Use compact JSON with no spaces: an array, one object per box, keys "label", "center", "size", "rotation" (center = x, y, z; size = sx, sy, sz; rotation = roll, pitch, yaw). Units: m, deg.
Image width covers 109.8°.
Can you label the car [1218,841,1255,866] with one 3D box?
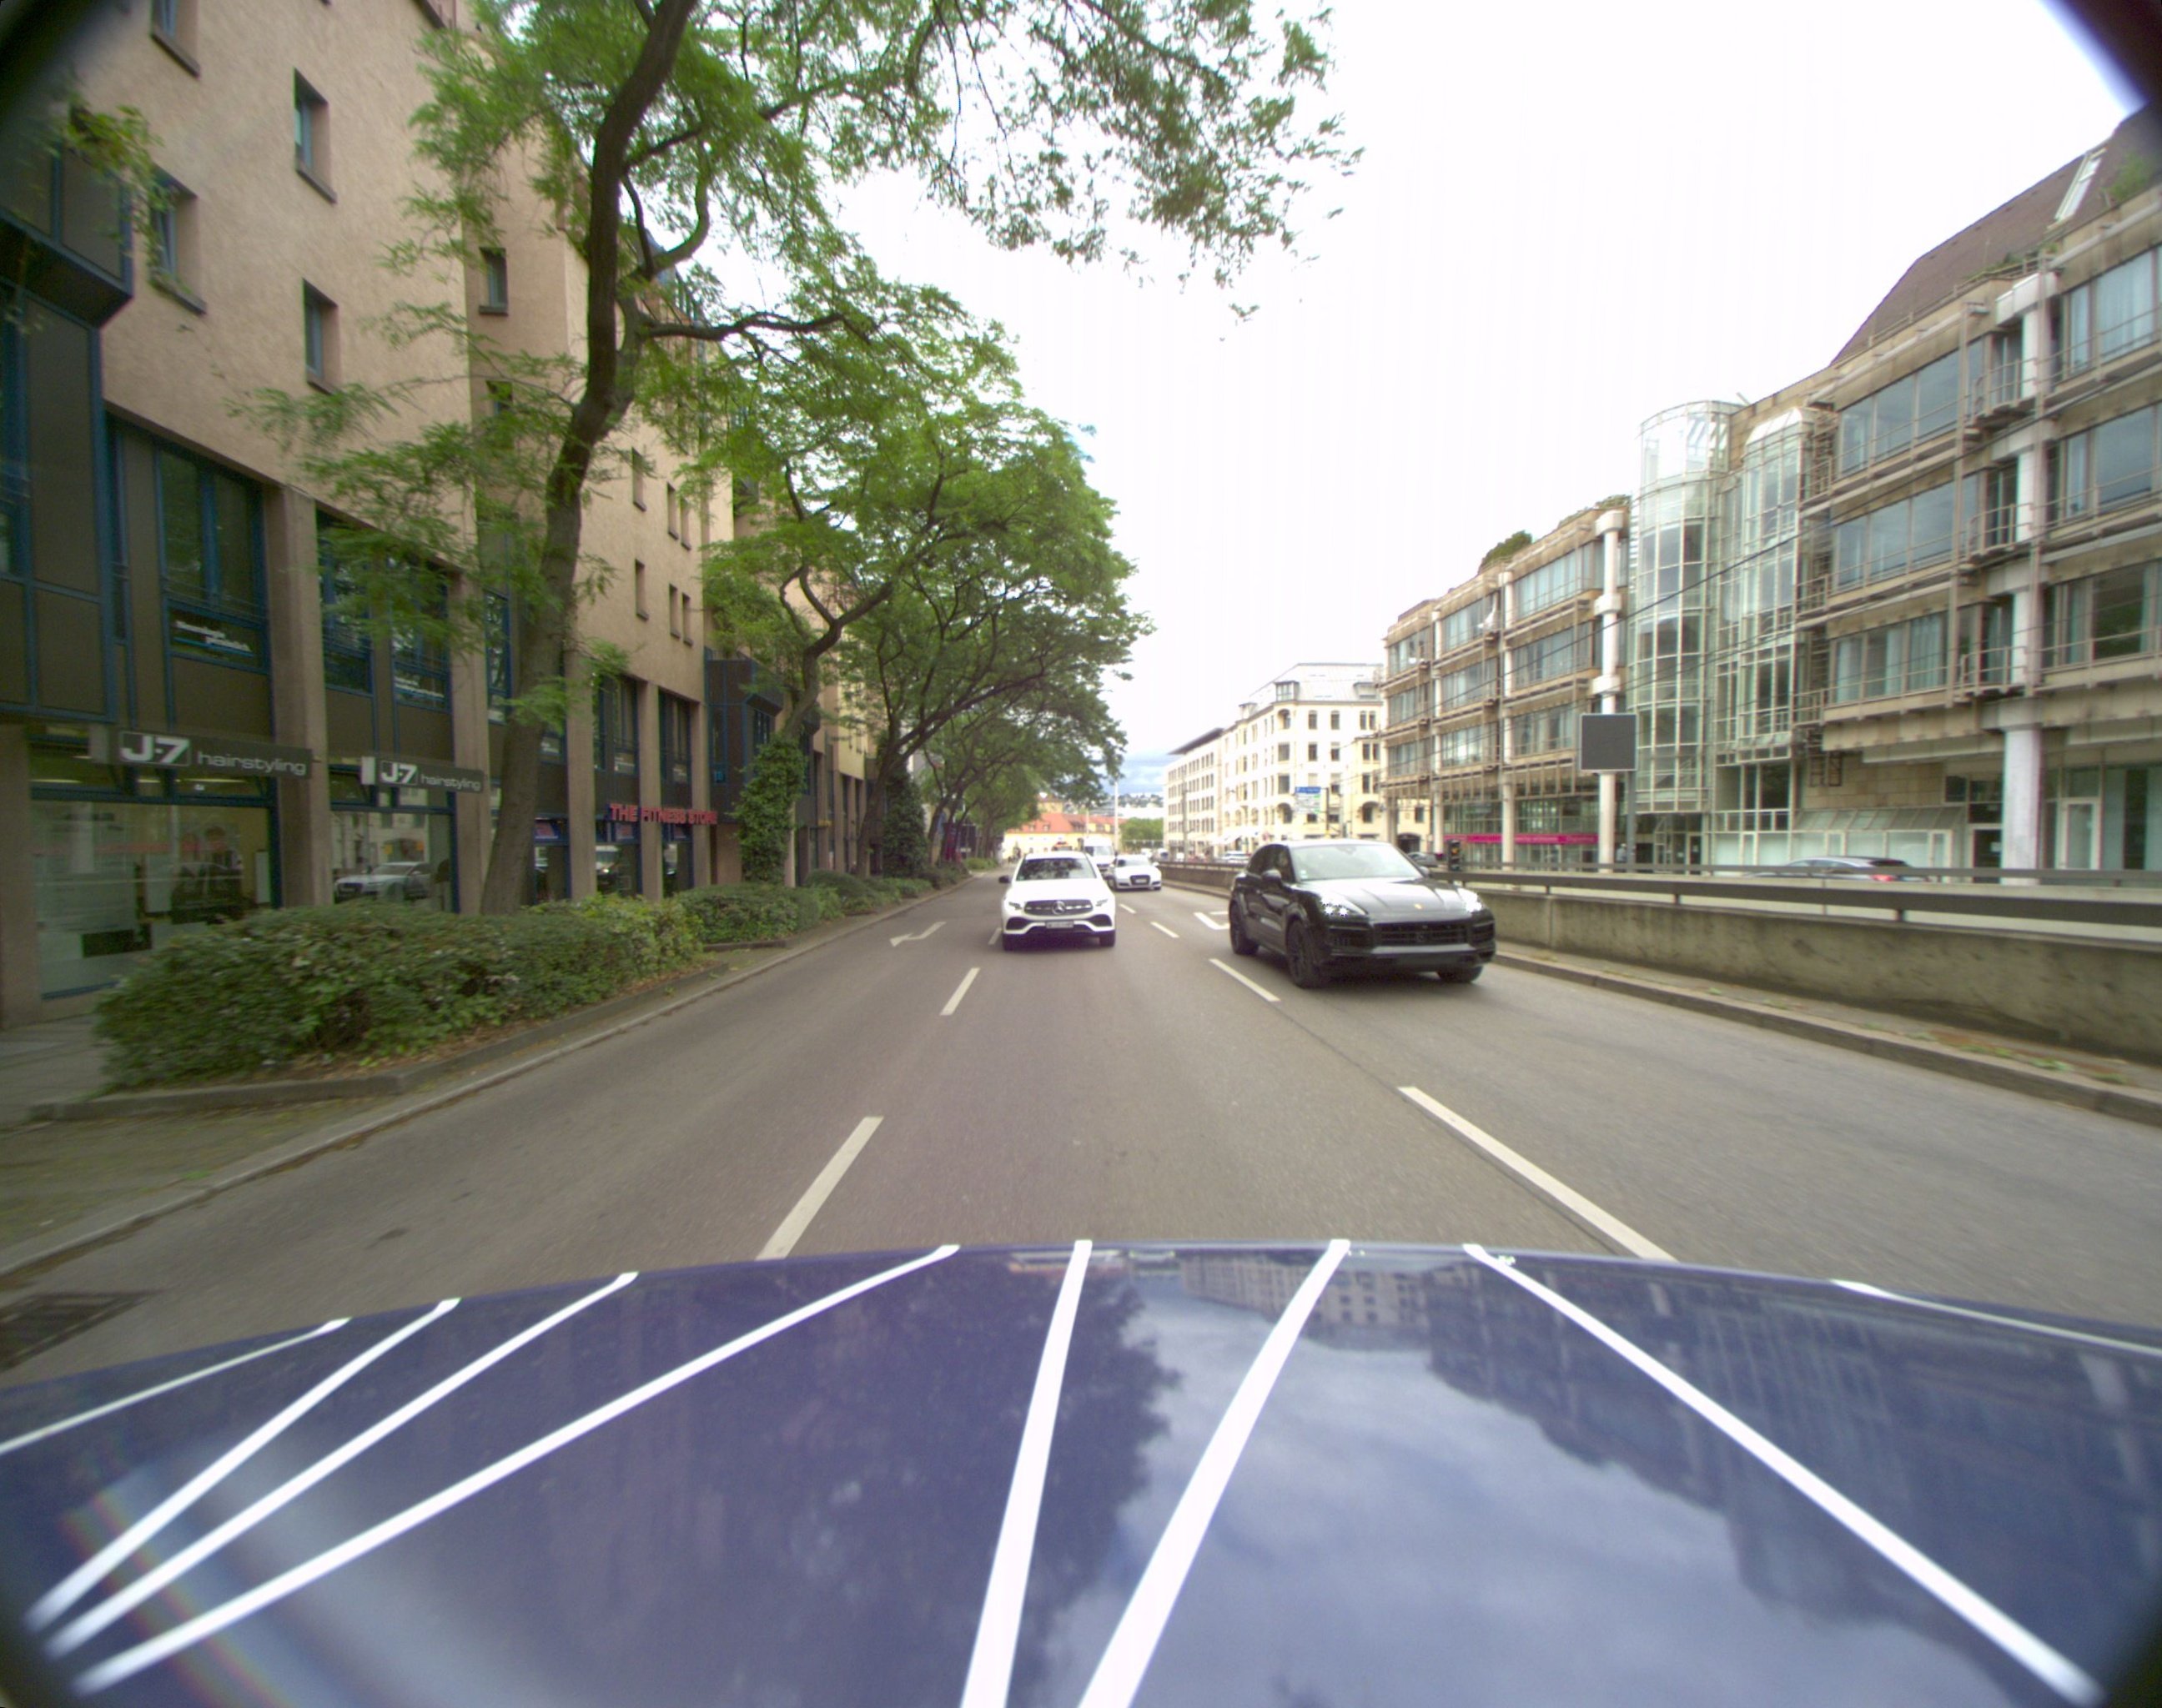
[{"label":"car","center":[12.885,-0.045,63.170],"size":[1.838,1.831,4.603],"rotation":[-5,1,-3]}]

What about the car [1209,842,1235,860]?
[{"label":"car","center":[17.027,-0.373,92.152],"size":[1.999,2.002,4.788],"rotation":[-2,1,-3]}]

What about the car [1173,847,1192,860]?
[{"label":"car","center":[15.591,-0.104,117.408],"size":[1.999,2.002,4.788],"rotation":[-2,1,-3]}]

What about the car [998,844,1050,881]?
[{"label":"car","center":[-3.563,0.475,49.033],"size":[2.502,2.145,5.729],"rotation":[-2,1,4]}]

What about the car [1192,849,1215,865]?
[{"label":"car","center":[16.339,0.402,101.437],"size":[1.999,2.002,4.788],"rotation":[-2,1,-3]}]

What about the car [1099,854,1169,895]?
[{"label":"car","center":[2.140,0.810,31.804],"size":[1.951,1.521,3.996],"rotation":[-2,1,-10]}]

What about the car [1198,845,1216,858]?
[{"label":"car","center":[19.532,-0.366,118.032],"size":[1.999,2.002,3.999],"rotation":[0,0,-3]}]

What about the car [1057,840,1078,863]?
[{"label":"car","center":[-1.800,-0.315,97.105],"size":[2.503,2.793,5.726],"rotation":[-2,1,-2]}]

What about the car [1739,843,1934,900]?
[{"label":"car","center":[21.886,0.454,22.265],"size":[1.668,1.492,4.042],"rotation":[-1,0,-1]}]

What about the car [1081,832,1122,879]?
[{"label":"car","center":[1.345,0.077,47.672],"size":[2.294,2.723,4.754],"rotation":[-2,1,4]}]

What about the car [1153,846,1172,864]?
[{"label":"car","center":[14.533,0.072,135.320],"size":[2.370,3.043,5.467],"rotation":[-2,1,-3]}]

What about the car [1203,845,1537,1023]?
[{"label":"car","center":[3.228,0.754,9.987],"size":[2.089,1.665,5.350],"rotation":[-1,0,-3]}]

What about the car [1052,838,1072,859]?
[{"label":"car","center":[-2.648,-0.779,104.417],"size":[2.503,2.793,5.726],"rotation":[-2,1,-2]}]

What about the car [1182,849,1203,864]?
[{"label":"car","center":[16.016,0.386,109.595],"size":[1.999,2.002,4.788],"rotation":[-2,1,-3]}]

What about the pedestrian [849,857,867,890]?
[{"label":"pedestrian","center":[-11.743,1.025,40.027],"size":[0.711,1.701,0.688],"rotation":[-1,0,3]}]

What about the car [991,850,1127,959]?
[{"label":"car","center":[-0.448,0.772,13.720],"size":[2.060,1.599,3.925],"rotation":[-2,1,-3]}]

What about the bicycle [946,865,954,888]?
[{"label":"bicycle","center":[-7.140,1.209,41.414],"size":[0.362,1.194,1.568],"rotation":[-1,0,-12]}]

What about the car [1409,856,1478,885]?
[{"label":"car","center":[20.338,0.877,42.842],"size":[1.668,1.492,4.412],"rotation":[-1,0,-1]}]

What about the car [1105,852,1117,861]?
[{"label":"car","center":[6.711,0.571,169.386],"size":[2.116,2.002,4.788],"rotation":[-2,1,-4]}]
